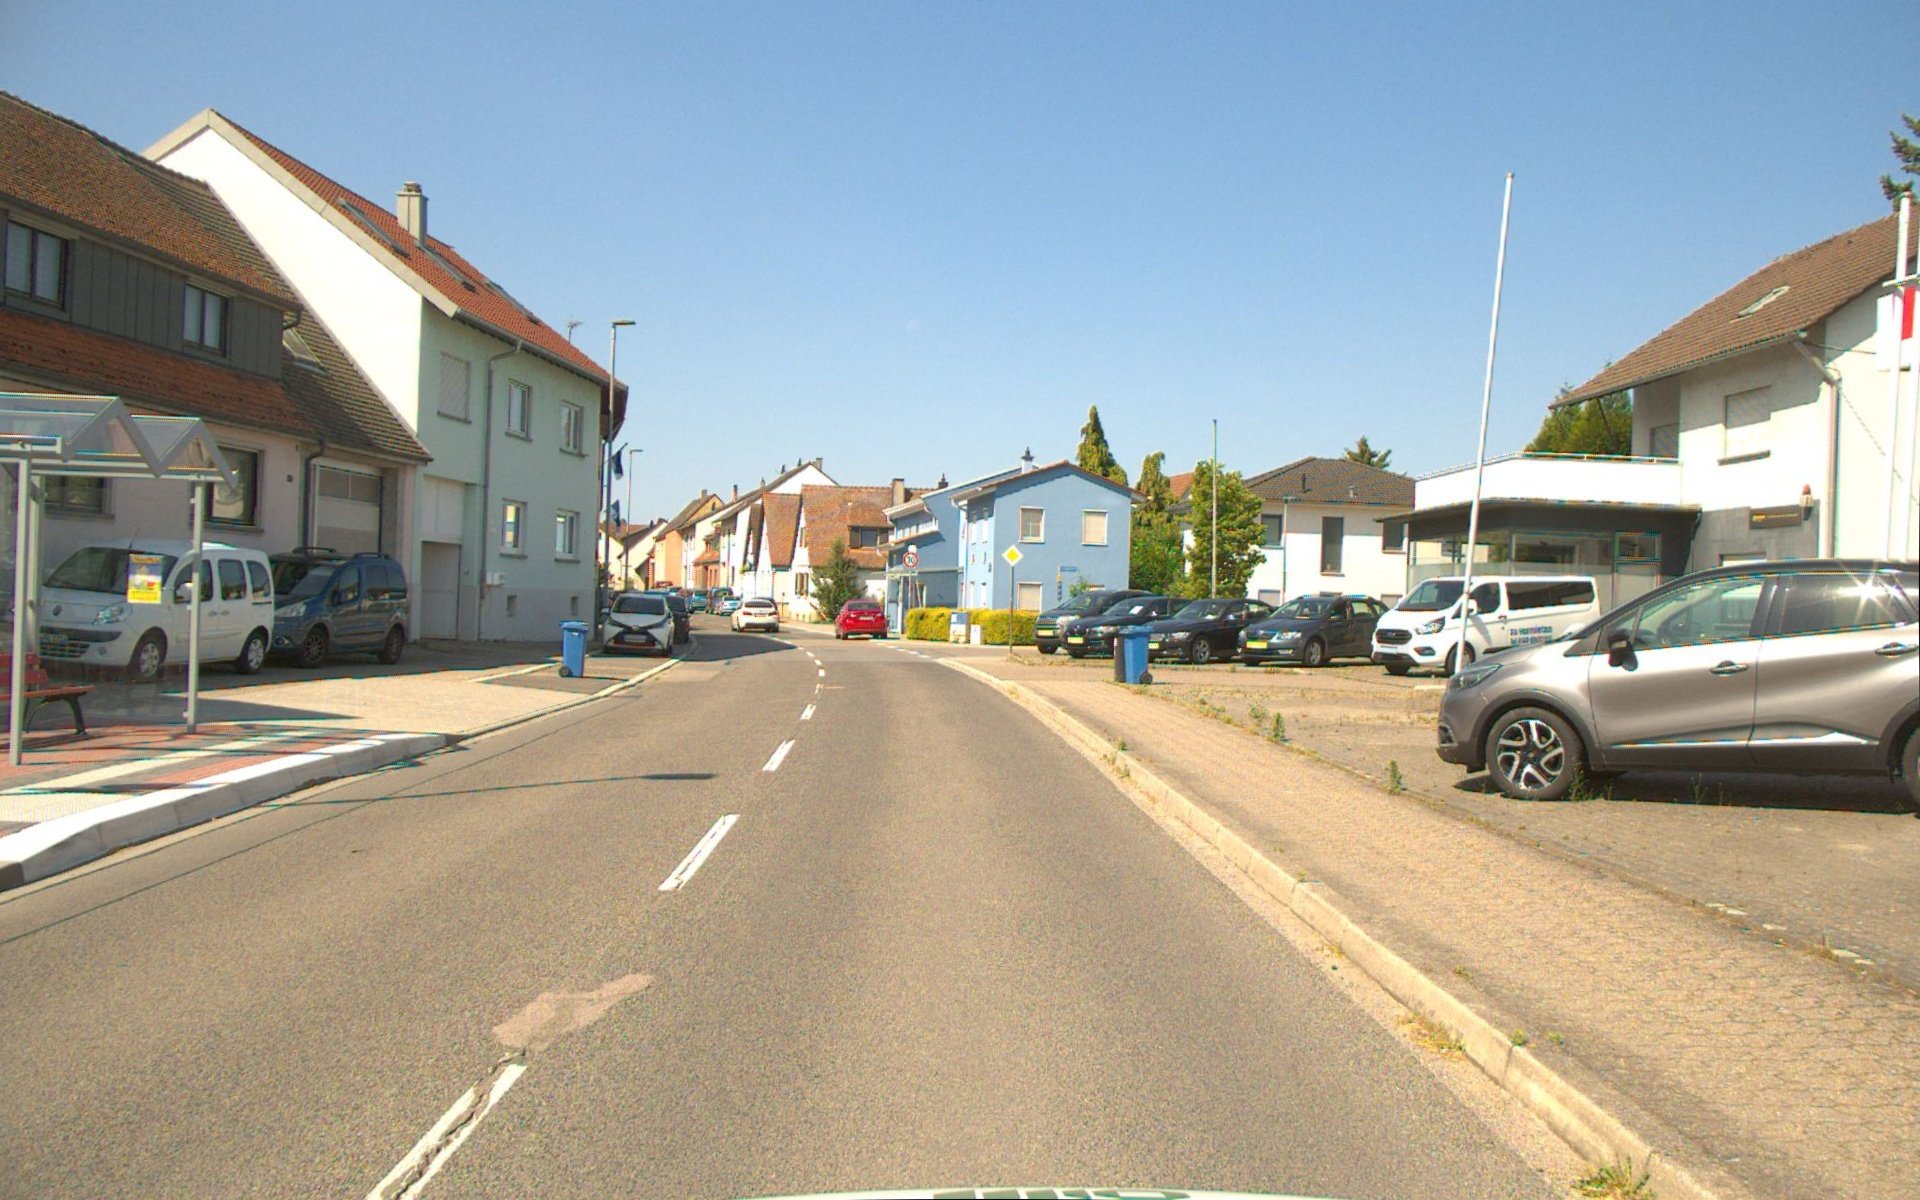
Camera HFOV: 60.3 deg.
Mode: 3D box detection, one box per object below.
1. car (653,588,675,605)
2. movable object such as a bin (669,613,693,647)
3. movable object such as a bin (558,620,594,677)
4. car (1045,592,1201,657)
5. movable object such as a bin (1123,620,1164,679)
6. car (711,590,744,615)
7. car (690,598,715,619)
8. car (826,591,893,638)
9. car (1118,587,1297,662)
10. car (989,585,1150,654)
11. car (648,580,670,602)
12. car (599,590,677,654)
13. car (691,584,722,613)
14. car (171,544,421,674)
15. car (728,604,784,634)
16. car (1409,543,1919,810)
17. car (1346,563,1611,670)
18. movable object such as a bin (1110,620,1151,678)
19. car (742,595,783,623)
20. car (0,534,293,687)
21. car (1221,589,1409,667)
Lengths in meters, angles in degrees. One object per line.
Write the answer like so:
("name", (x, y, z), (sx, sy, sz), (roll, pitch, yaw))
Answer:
("car", (-27.001, -0.321, 150.892), (1.737, 1.458, 3.436), (1, 0, -15))
("movable object such as a bin", (-8.503, 0.911, 50.386), (0.542, 0.944, 0.822), (5, -1, -16))
("movable object such as a bin", (-6.700, 0.849, 28.897), (0.547, 0.953, 0.513), (3, -1, -12))
("car", (3.939, 0.565, 39.654), (1.722, 1.472, 3.846), (0, 0, 44))
("movable object such as a bin", (3.013, 0.808, 27.164), (0.547, 0.955, 0.513), (1, 0, -12))
("car", (-15.510, 0.162, 110.140), (1.677, 1.523, 3.437), (2, 0, -16))
("car", (-19.528, 0.631, 125.444), (1.397, 1.542, 3.289), (2, 0, -16))
("car", (-3.874, 0.504, 62.976), (1.704, 1.520, 4.338), (0, 3, -15))
("car", (5.649, 0.529, 37.513), (1.951, 1.593, 4.210), (0, 0, 44))
("car", (2.828, 0.491, 42.307), (4.078, 1.682, 1.803), (1, 0, -42))
("car", (-28.341, -0.822, 155.744), (1.737, 2.039, 3.436), (1, 0, -15))
("car", (-8.006, 0.536, 41.358), (1.652, 1.487, 3.642), (2, -1, -8))
("car", (-17.587, -0.124, 114.614), (1.623, 1.943, 3.610), (2, 0, -16))
("car", (-10.622, 0.145, 26.855), (1.798, 1.824, 4.346), (4, 0, 7))
("car", (-9.333, 0.857, 75.336), (1.961, 1.311, 3.983), (1, 0, -16))
("car", (5.338, 0.480, 11.160), (4.097, 1.582, 1.768), (-1, -1, 36))
("car", (10.684, 0.332, 34.020), (5.209, 2.049, 2.211), (1, 0, -28))
("movable object such as a bin", (2.848, 0.809, 27.687), (0.547, 0.953, 0.513), (1, 0, -12))
("car", (-11.227, 0.511, 93.843), (1.677, 1.458, 3.872), (2, 0, -16))
("car", (-10.935, 0.144, 22.223), (1.927, 1.805, 4.278), (2, -1, 4))
("car", (7.728, 0.570, 35.819), (4.283, 1.578, 1.953), (1, 0, -44))
